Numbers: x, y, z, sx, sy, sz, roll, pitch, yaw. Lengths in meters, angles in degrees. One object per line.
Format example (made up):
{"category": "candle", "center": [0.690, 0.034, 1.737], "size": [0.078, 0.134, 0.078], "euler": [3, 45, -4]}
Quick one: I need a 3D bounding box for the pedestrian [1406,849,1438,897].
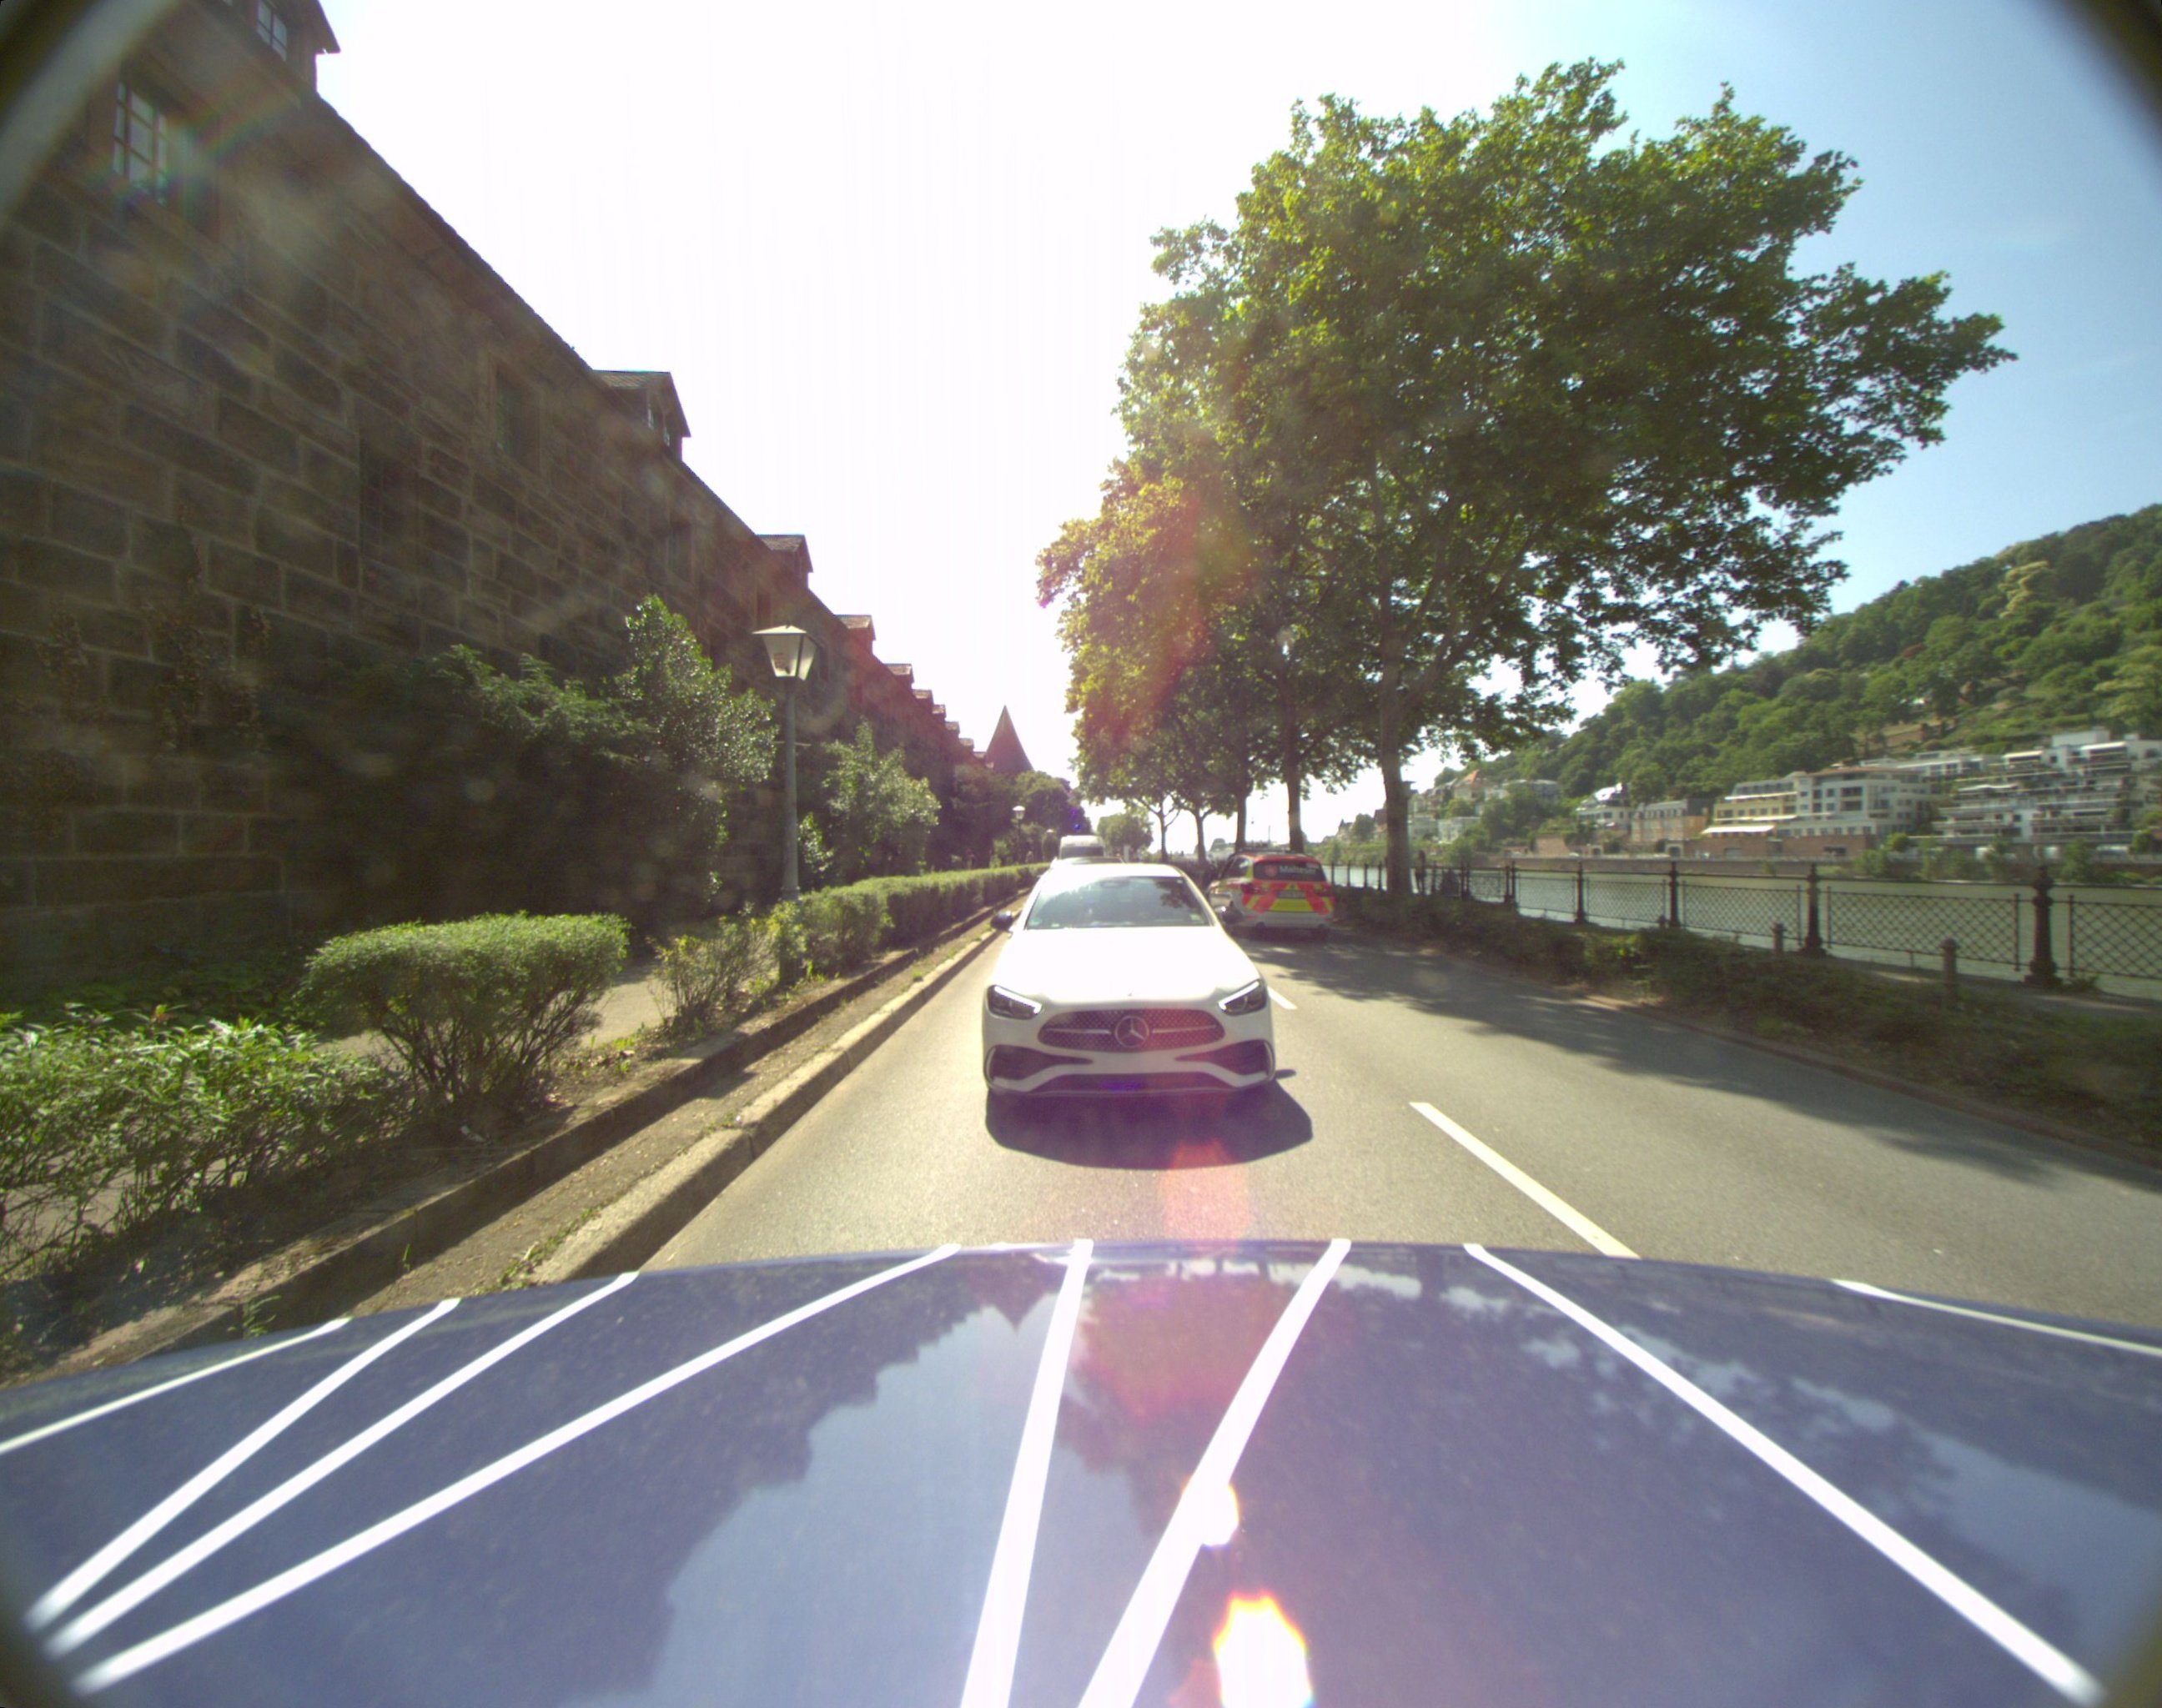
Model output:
{"category": "pedestrian", "center": [12.795, 0.706, 28.532], "size": [0.777, 1.748, 0.830], "euler": [1, 1, 0]}

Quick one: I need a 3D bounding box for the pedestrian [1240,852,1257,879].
{"category": "pedestrian", "center": [10.663, 0.736, 48.414], "size": [0.897, 1.625, 1.059], "euler": [-2, 1, 6]}

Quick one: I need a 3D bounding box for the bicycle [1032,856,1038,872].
{"category": "bicycle", "center": [-3.589, 0.766, 58.999], "size": [0.406, 1.169, 1.576], "euler": [-2, 1, -2]}

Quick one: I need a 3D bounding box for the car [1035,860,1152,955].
{"category": "car", "center": [0.230, 0.871, 14.339], "size": [1.833, 1.428, 4.270], "euler": [-2, 0, 1]}

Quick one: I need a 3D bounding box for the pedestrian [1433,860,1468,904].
{"category": "pedestrian", "center": [11.974, 0.898, 24.644], "size": [0.768, 1.379, 0.770], "euler": [1, 1, 0]}

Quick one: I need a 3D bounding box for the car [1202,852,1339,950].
{"category": "car", "center": [3.651, 0.827, 15.379], "size": [1.677, 1.650, 4.223], "euler": [2, 0, 0]}

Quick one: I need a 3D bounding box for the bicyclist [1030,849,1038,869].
{"category": "bicyclist", "center": [-3.626, 0.372, 59.057], "size": [0.550, 1.513, 0.583], "euler": [-2, 1, -1]}

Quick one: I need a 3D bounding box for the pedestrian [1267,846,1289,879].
{"category": "pedestrian", "center": [12.237, 0.546, 47.155], "size": [1.047, 2.002, 1.036], "euler": [-1, 1, 31]}

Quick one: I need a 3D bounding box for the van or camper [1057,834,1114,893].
{"category": "van or camper", "center": [0.192, 0.391, 33.627], "size": [2.313, 2.358, 5.035], "euler": [1, 0, 0]}

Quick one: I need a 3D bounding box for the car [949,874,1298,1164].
{"category": "car", "center": [0.257, 0.946, 6.232], "size": [1.833, 1.395, 4.270], "euler": [-2, 0, 1]}

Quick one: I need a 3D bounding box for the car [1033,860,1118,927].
{"category": "car", "center": [-0.092, 0.889, 19.101], "size": [1.833, 1.395, 4.423], "euler": [-2, 0, 1]}

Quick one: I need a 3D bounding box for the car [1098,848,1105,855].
{"category": "car", "center": [6.018, -0.754, 222.940], "size": [2.165, 2.002, 4.000], "euler": [-2, 1, 1]}

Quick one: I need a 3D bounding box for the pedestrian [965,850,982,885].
{"category": "pedestrian", "center": [-4.824, 0.604, 34.110], "size": [0.643, 1.555, 0.563], "euler": [-2, 1, 1]}

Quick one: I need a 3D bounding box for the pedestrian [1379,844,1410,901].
{"category": "pedestrian", "center": [10.587, 0.611, 25.682], "size": [0.767, 1.889, 0.771], "euler": [1, 1, 8]}

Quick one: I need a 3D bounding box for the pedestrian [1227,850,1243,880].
{"category": "pedestrian", "center": [9.749, 0.671, 48.134], "size": [0.806, 1.839, 0.929], "euler": [-2, 1, 1]}

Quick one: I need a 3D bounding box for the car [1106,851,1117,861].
{"category": "car", "center": [6.540, 0.383, 161.652], "size": [2.165, 2.002, 4.000], "euler": [-2, 1, 1]}
